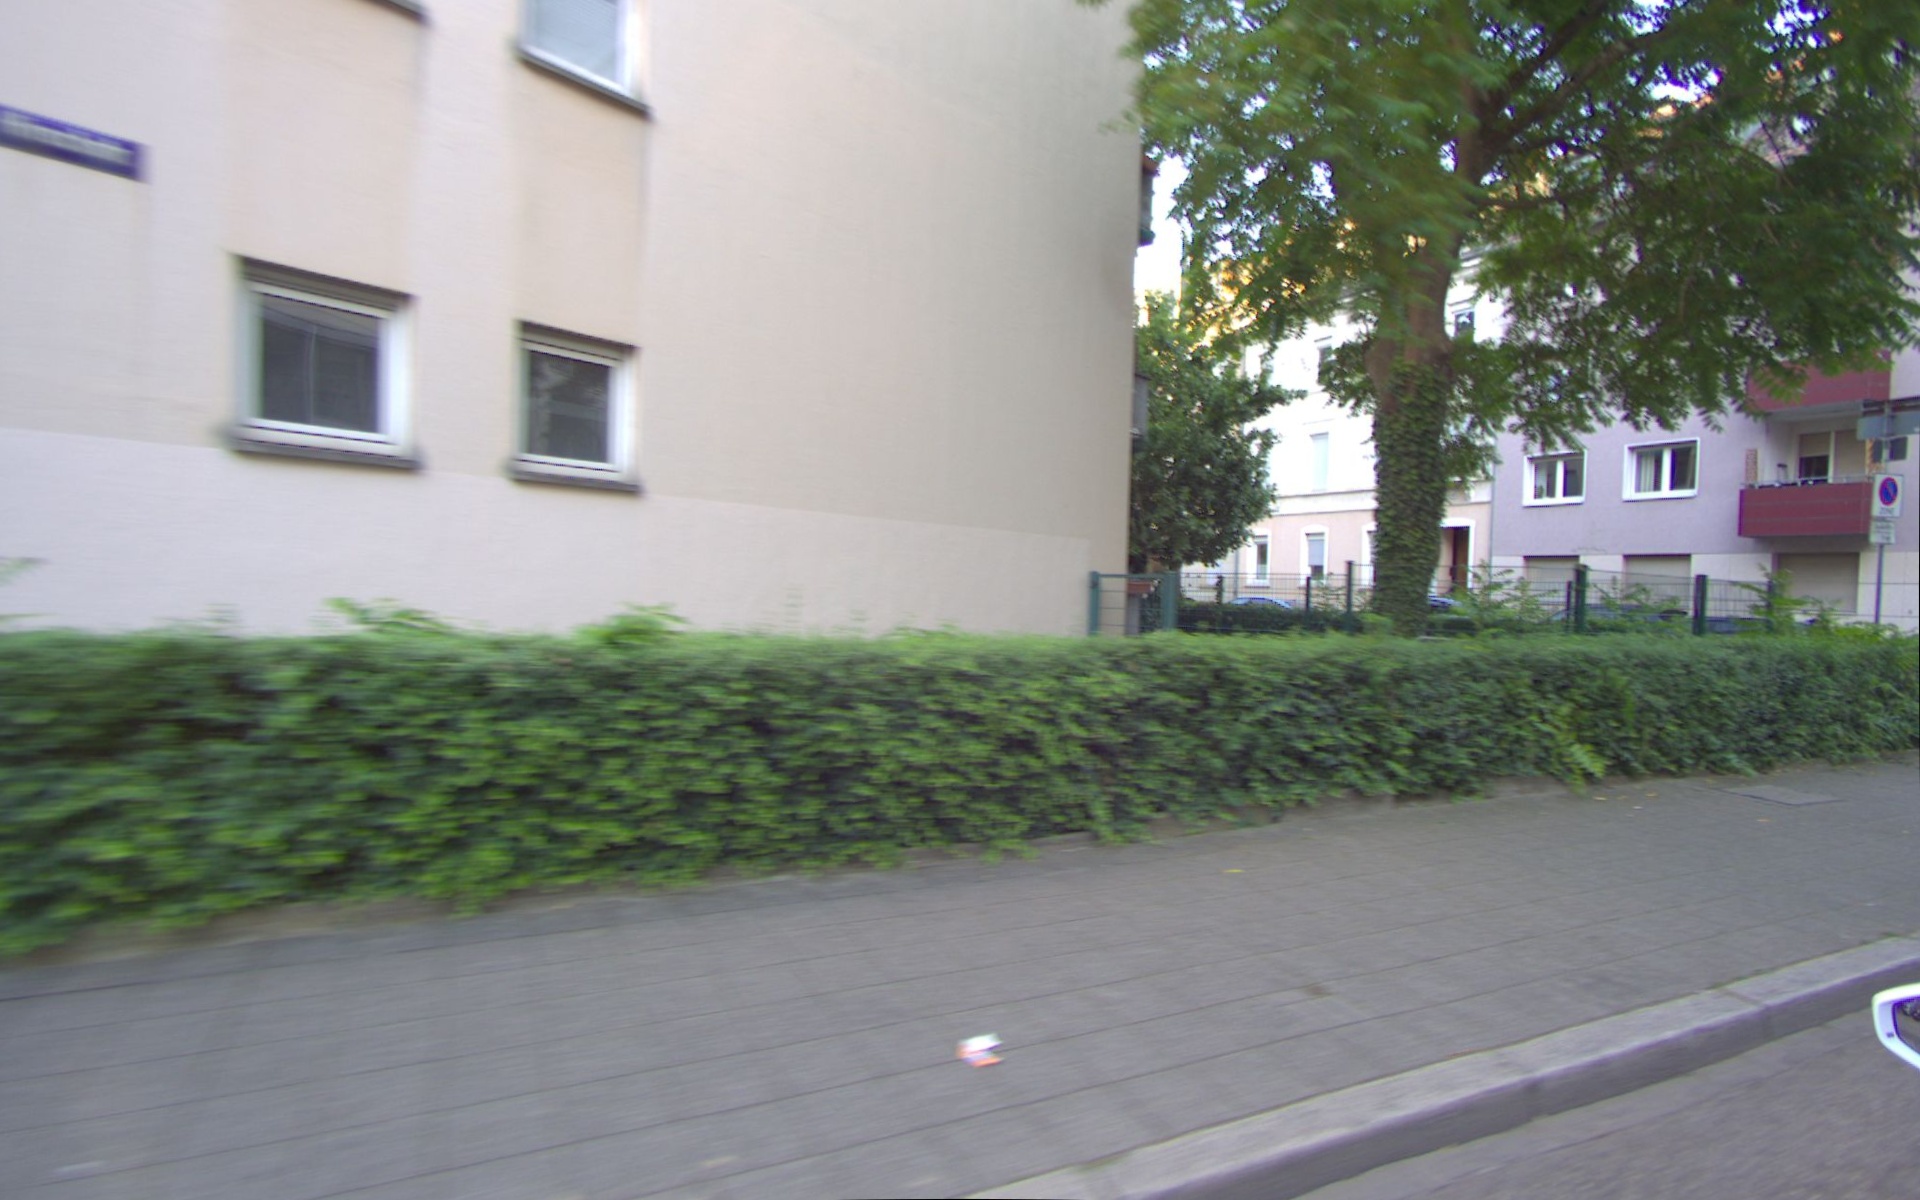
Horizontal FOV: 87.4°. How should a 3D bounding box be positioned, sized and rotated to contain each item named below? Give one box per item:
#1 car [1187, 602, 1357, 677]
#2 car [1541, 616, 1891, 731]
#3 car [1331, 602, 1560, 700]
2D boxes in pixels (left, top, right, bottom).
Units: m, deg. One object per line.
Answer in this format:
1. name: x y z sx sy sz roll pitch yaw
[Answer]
1. car: 7.672 0.935 25.083 1.806 1.597 3.973 2 0 -26
2. car: 12.414 1.119 16.840 1.706 1.501 4.352 2 0 -28
3. car: 9.950 0.984 20.943 1.704 1.727 4.099 2 0 -26
